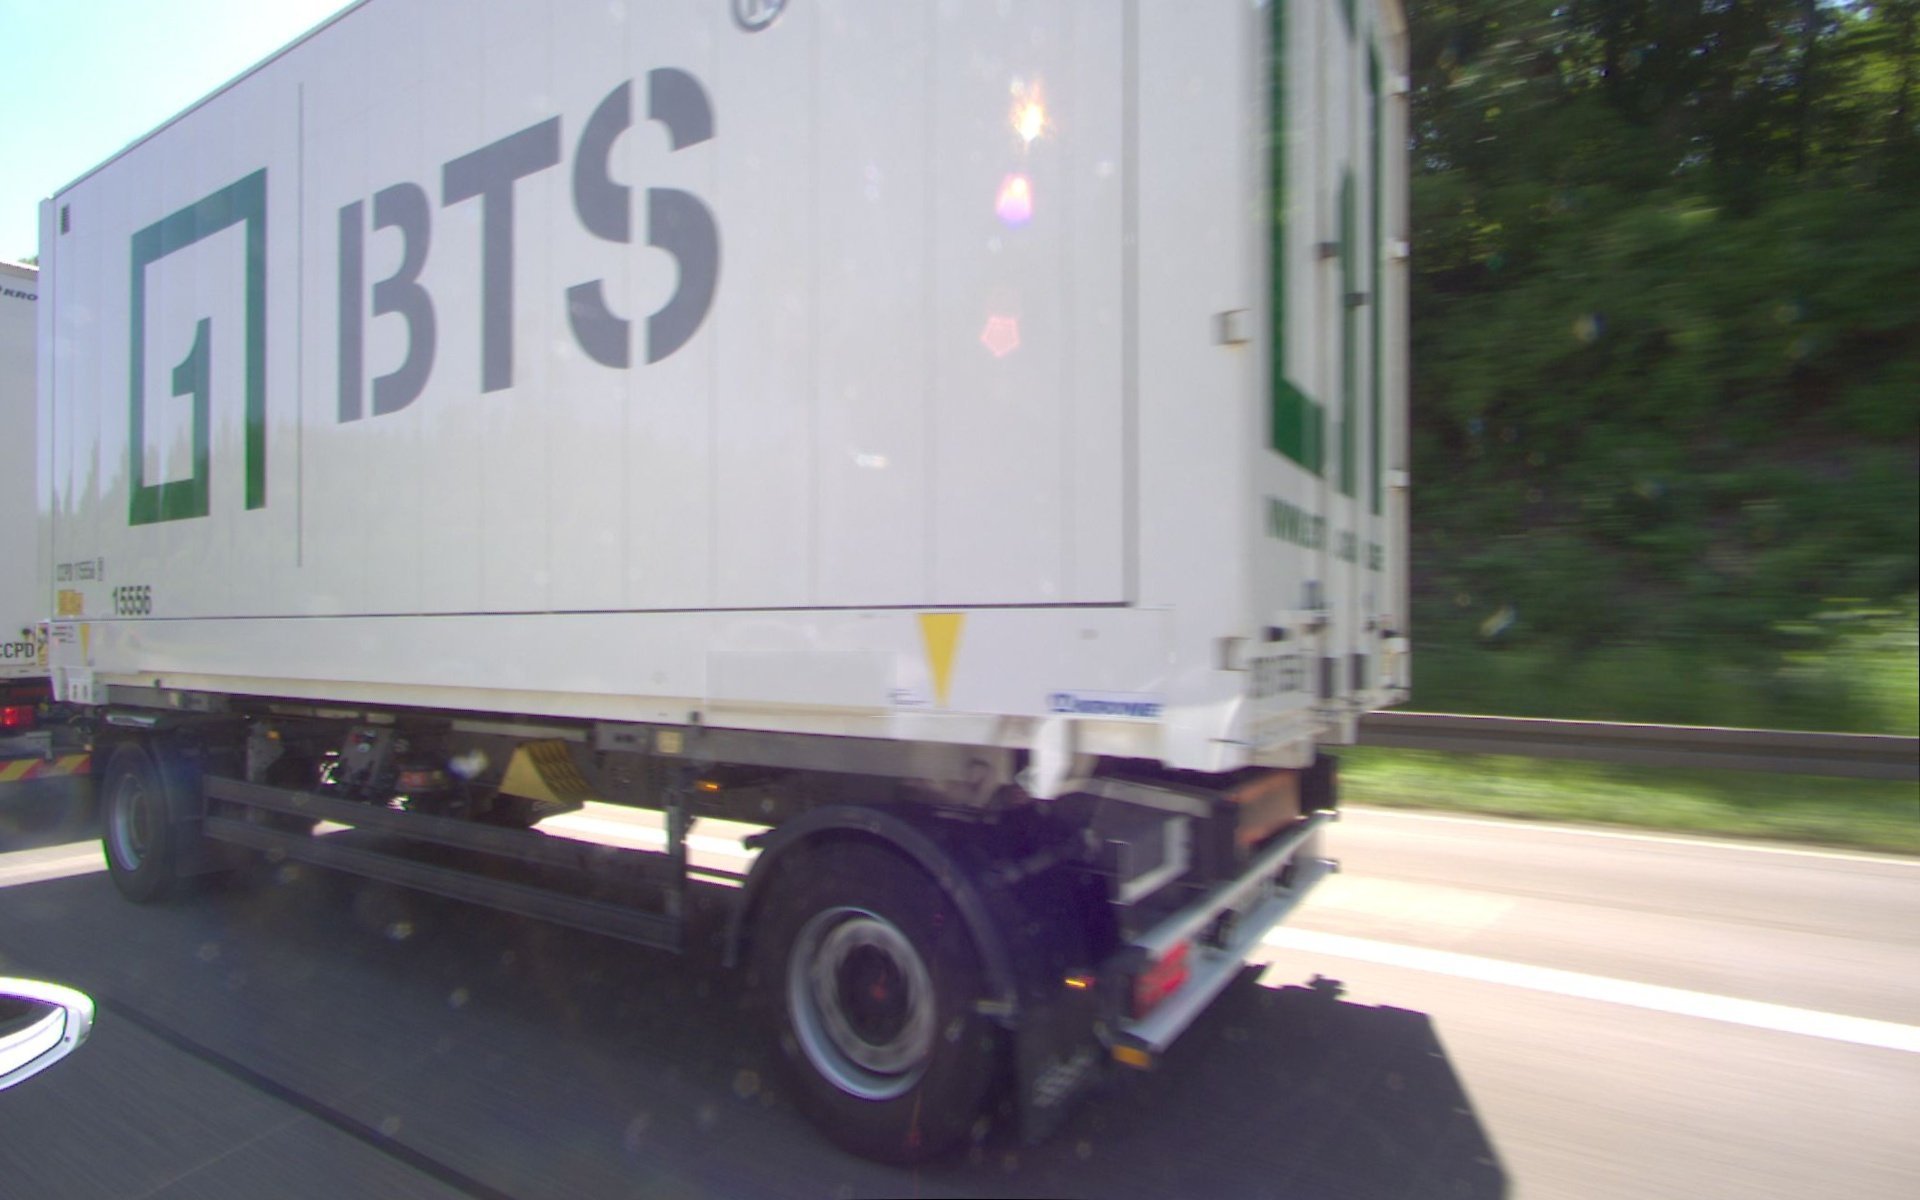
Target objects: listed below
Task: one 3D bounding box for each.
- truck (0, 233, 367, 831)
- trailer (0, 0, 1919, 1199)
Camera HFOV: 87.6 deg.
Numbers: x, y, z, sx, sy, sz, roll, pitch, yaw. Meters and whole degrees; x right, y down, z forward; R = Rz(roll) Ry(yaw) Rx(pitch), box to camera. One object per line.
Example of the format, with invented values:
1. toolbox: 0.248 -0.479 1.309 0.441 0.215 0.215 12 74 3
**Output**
1. truck: -10.463 -0.378 10.614 10.472 4.112 2.675 -1 -1 32
2. trailer: -1.682 -0.527 5.125 9.920 4.229 2.675 -1 -1 32
